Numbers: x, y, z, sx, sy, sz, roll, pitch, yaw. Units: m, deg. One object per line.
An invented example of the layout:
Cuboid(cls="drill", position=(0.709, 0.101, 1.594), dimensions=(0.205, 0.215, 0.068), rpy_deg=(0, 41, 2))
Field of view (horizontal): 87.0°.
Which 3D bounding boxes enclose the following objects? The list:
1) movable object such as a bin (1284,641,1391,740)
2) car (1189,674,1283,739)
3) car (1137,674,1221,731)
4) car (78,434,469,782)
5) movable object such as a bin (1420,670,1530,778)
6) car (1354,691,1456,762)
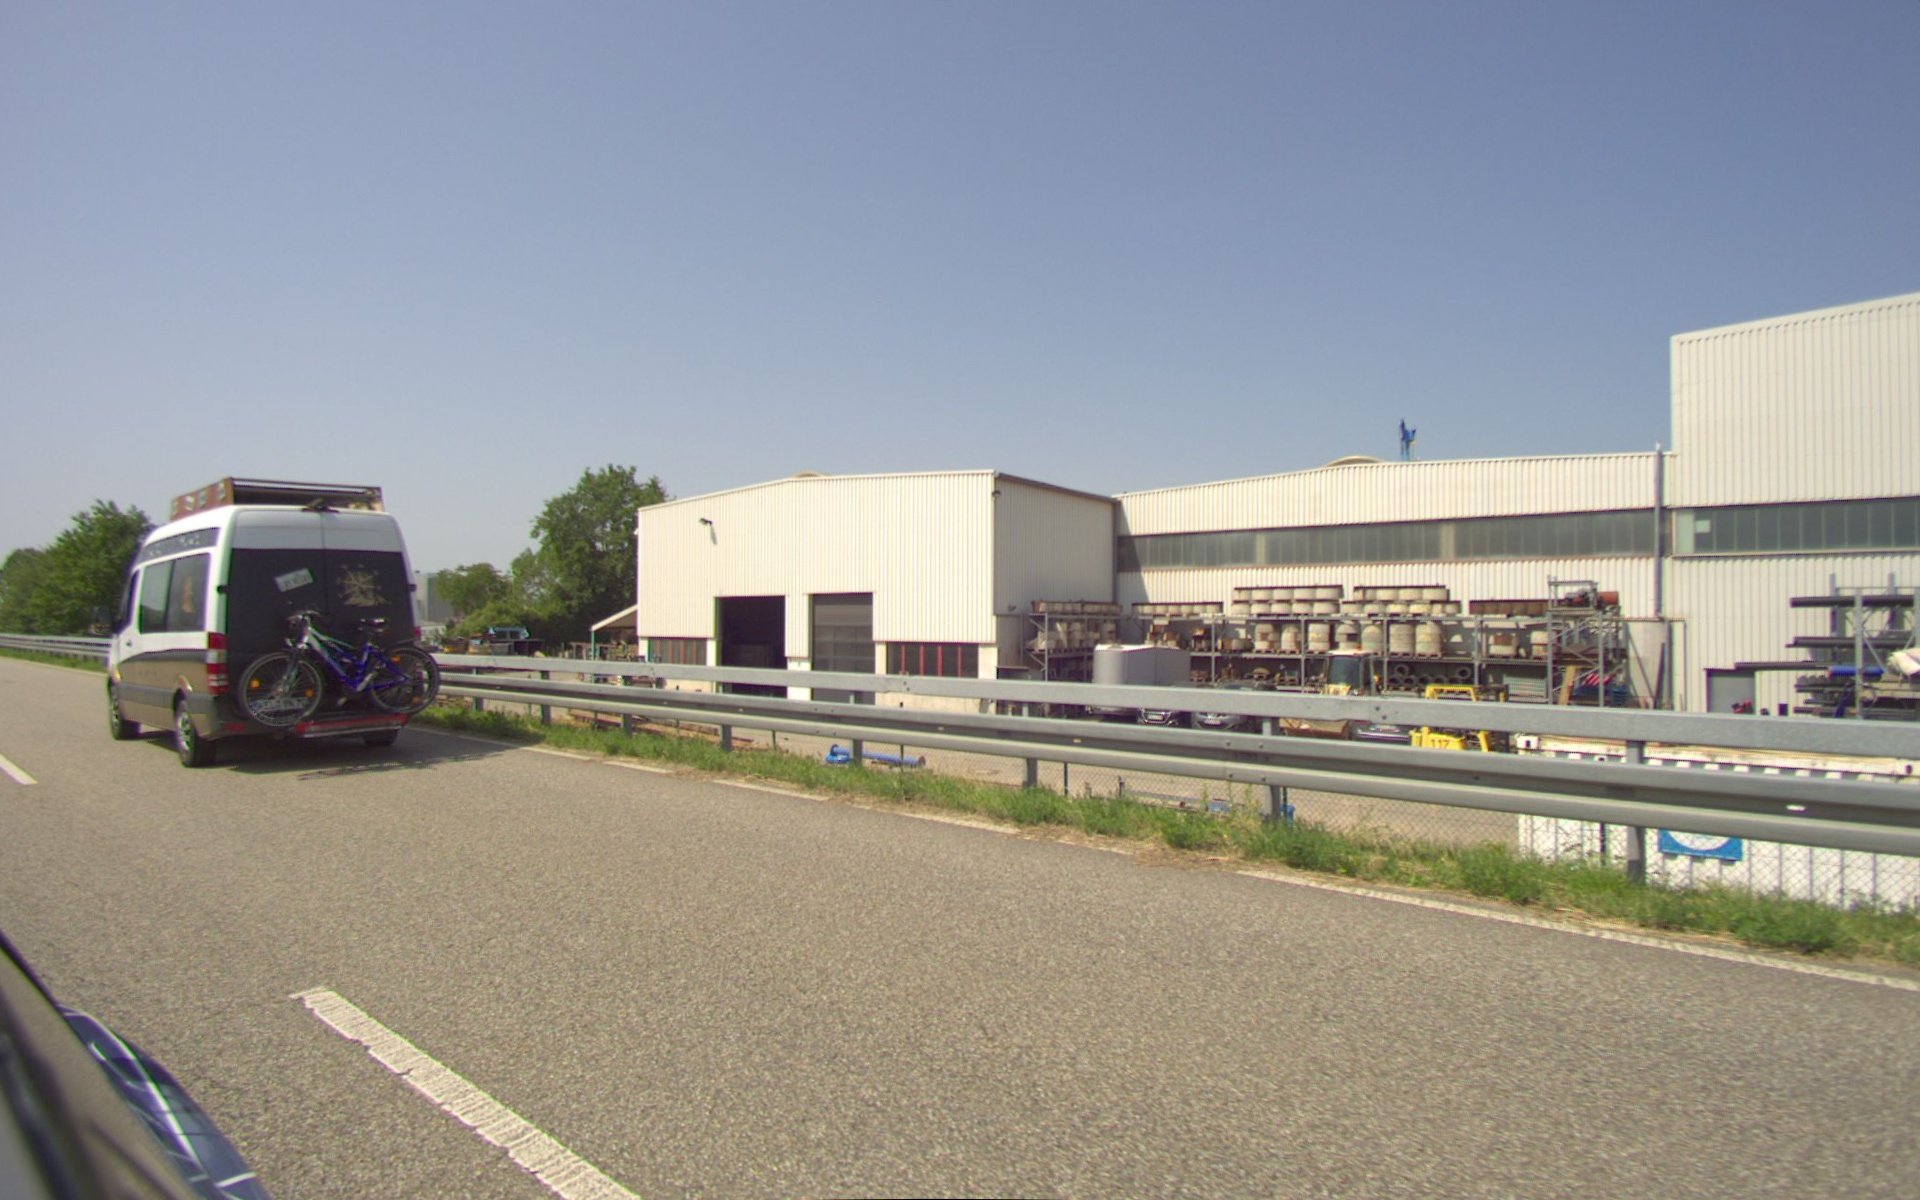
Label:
Cuboid(cls="movable object such as a bin", position=(11.530, 2.753, 30.716), dimensions=(2.127, 2.701, 4.506), rpy_deg=(0, -6, 33))
Cuboid(cls="car", position=(8.437, 3.243, 30.790), dimensions=(1.673, 1.787, 3.101), rpy_deg=(-1, -6, 38))
Cuboid(cls="car", position=(7.125, 3.324, 32.776), dimensions=(1.464, 1.687, 3.224), rpy_deg=(-1, -6, 36))
Cuboid(cls="car", position=(-8.201, 0.110, 11.677), dimensions=(6.726, 2.984, 2.058), rpy_deg=(-1, 0, 41))
Cuboid(cls="movable object such as a bin", position=(12.185, 2.809, 23.833), dimensions=(1.847, 2.029, 3.830), rpy_deg=(-1, 0, 34))
Cuboid(cls="car", position=(11.774, 3.264, 26.650), dimensions=(1.721, 1.532, 3.952), rpy_deg=(-1, -3, 35))
